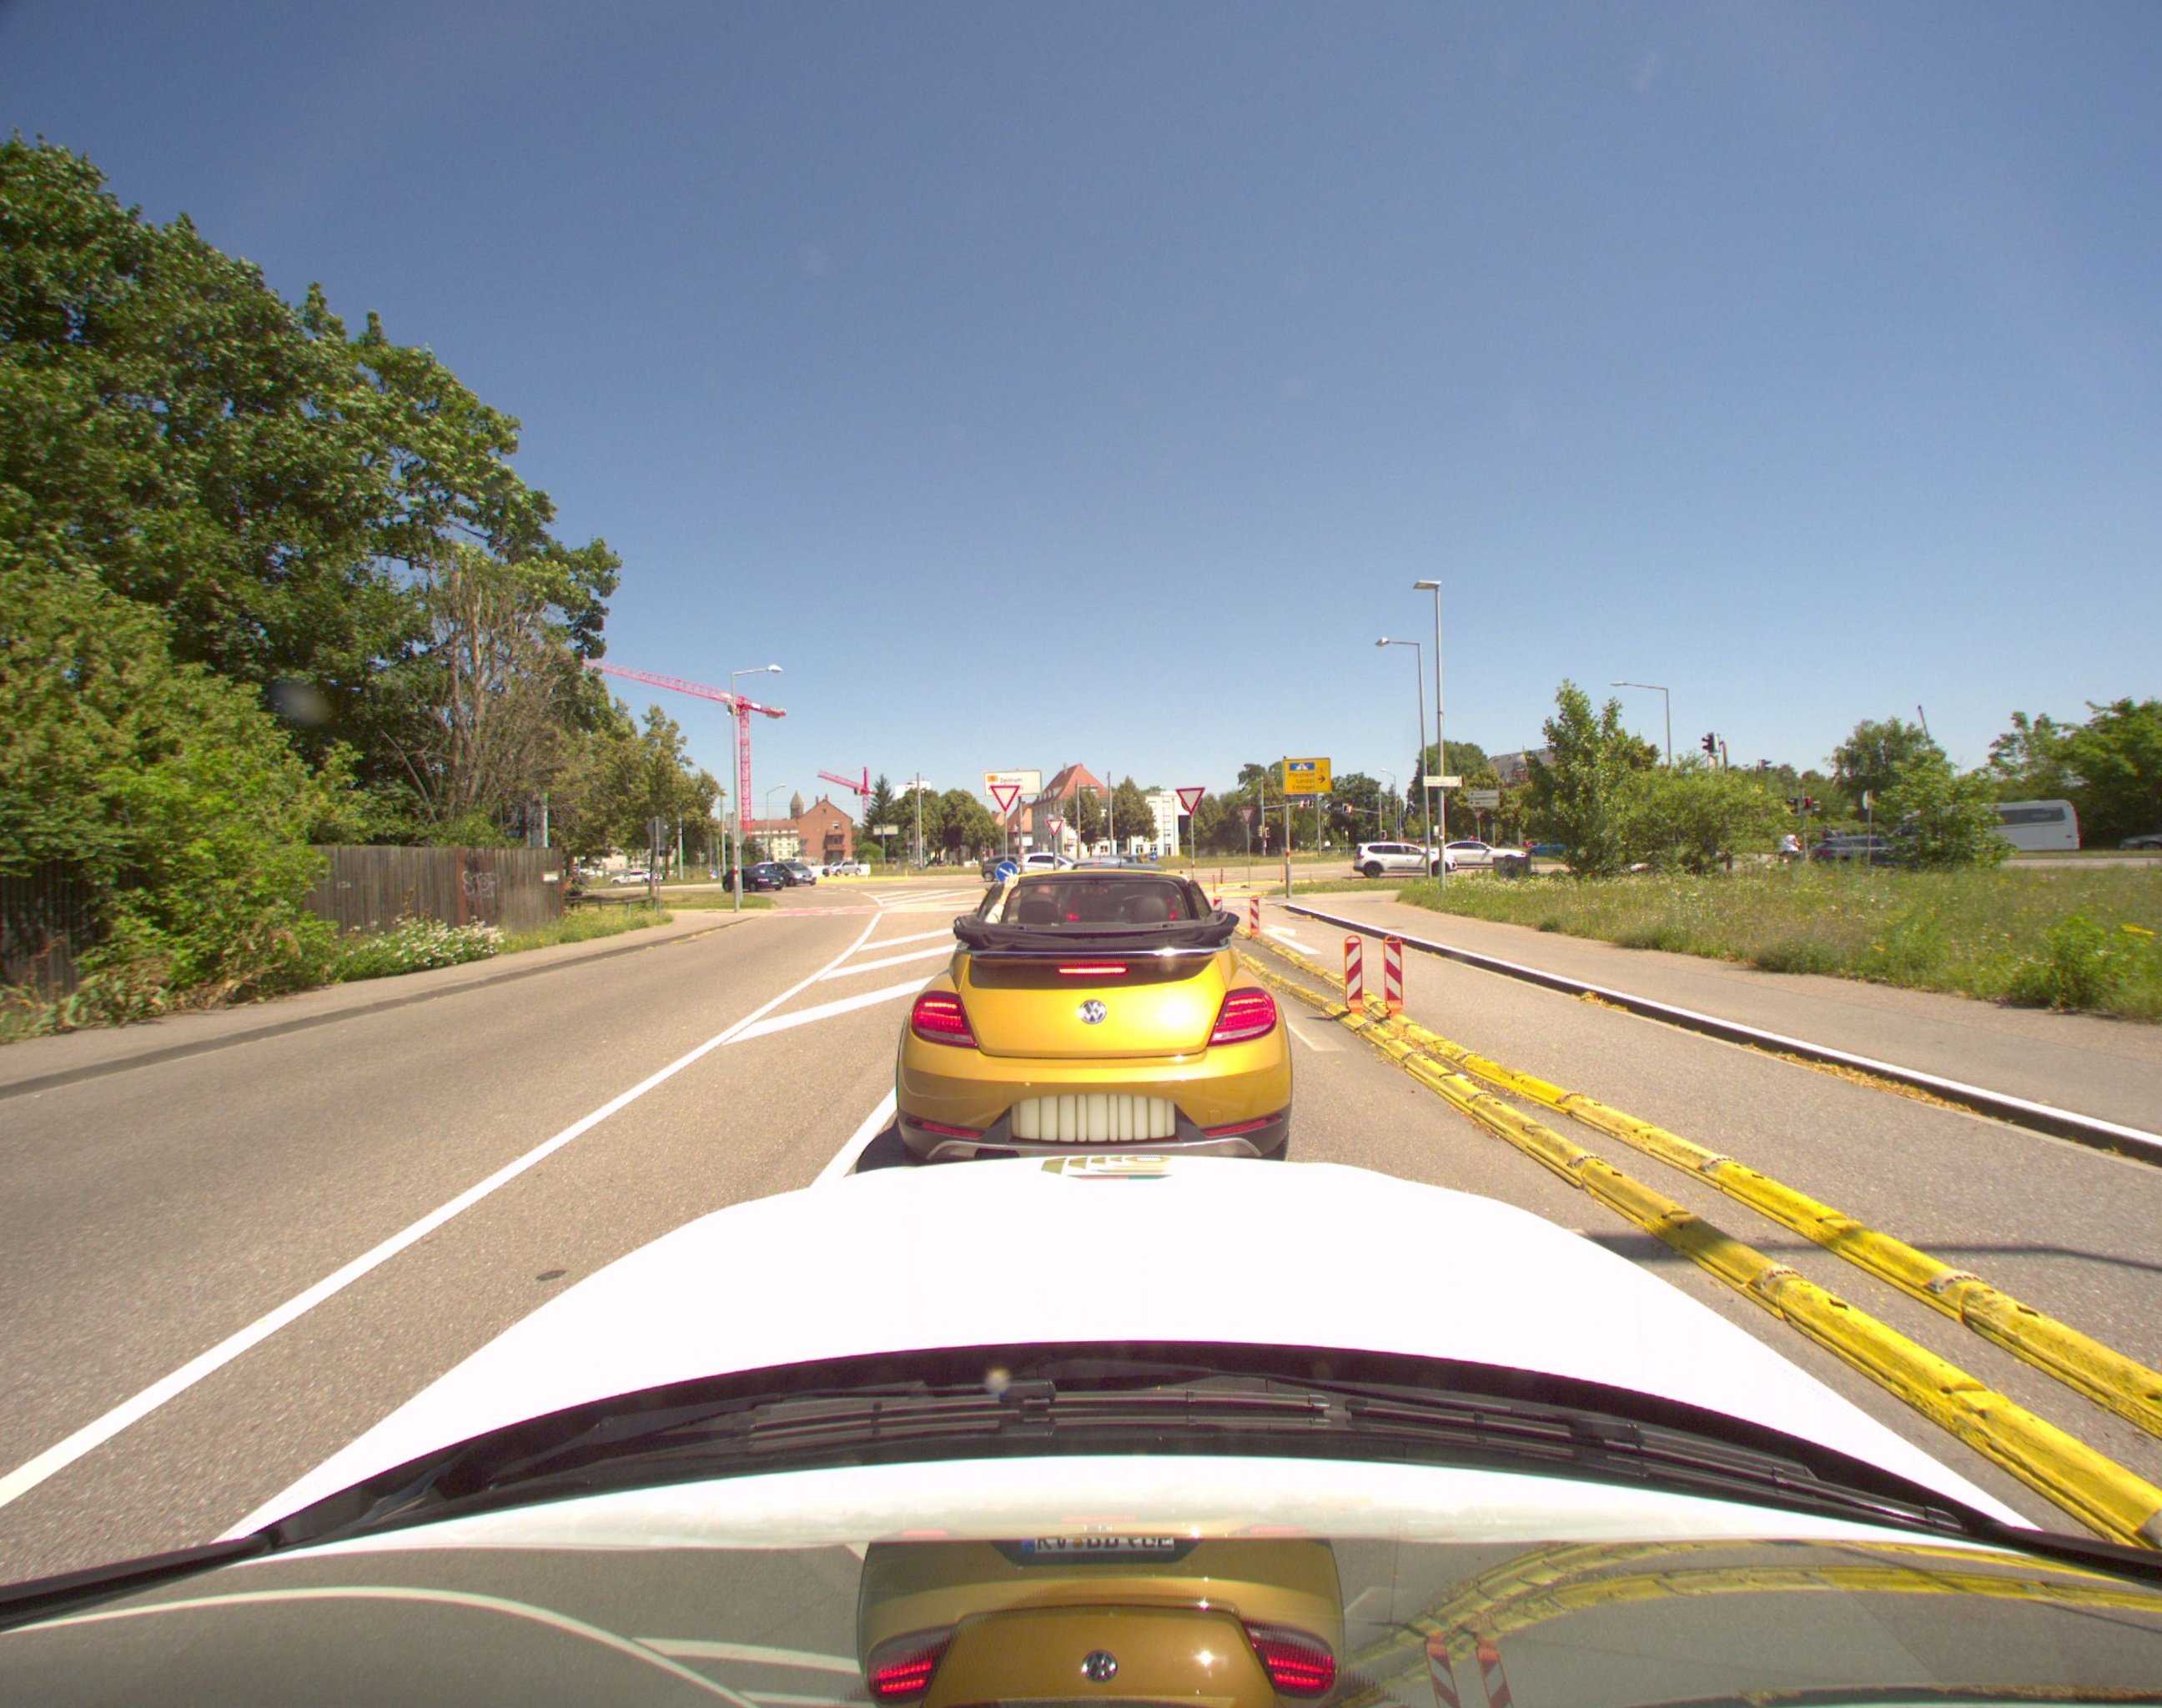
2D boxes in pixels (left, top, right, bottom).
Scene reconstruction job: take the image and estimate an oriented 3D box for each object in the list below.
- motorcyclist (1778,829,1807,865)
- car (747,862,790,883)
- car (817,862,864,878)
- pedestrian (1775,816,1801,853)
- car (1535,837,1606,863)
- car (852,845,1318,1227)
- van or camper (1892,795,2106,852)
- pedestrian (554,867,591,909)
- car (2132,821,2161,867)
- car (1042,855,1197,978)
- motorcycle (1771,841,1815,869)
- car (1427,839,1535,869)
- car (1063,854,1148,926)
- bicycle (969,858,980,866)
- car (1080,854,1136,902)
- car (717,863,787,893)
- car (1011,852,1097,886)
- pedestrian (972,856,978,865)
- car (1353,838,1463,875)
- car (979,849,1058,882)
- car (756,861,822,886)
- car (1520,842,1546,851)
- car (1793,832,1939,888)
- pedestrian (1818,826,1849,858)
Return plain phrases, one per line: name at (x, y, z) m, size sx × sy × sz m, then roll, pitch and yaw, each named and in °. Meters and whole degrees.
motorcyclist at (25.813, -0.255, 29.547) m, size 0.616 × 1.289 × 0.576 m, roll -1°, pitch -1°, yaw -27°
car at (-24.439, 1.409, 63.839) m, size 1.749 × 1.549 × 4.002 m, roll -1°, pitch 0°, yaw 2°
car at (-23.269, 1.547, 79.070) m, size 1.690 × 1.500 × 4.247 m, roll -1°, pitch 0°, yaw 34°
pedestrian at (36.697, -0.998, 42.282) m, size 0.647 × 1.870 × 0.737 m, roll -1°, pitch 0°, yaw 3°
car at (35.638, -0.283, 59.379) m, size 2.006 × 1.838 × 3.962 m, roll -1°, pitch 0°, yaw -30°
car at (0.066, 0.697, 4.978) m, size 1.746 × 1.422 × 3.779 m, roll -1°, pitch 0°, yaw 1°
van or camper at (48.826, -1.510, 43.679) m, size 2.527 × 2.693 × 7.420 m, roll -1°, pitch 0°, yaw -43°
pedestrian at (-19.518, 1.294, 31.259) m, size 0.866 × 1.563 × 0.815 m, roll -1°, pitch -1°, yaw 24°
car at (48.712, -0.456, 35.037) m, size 3.950 × 2.014 × 2.012 m, roll -1°, pitch 0°, yaw 44°
car at (0.528, 0.755, 11.784) m, size 1.841 × 1.442 × 4.002 m, roll -1°, pitch 0°, yaw 2°
motorcycle at (25.794, 0.033, 29.500) m, size 1.712 × 0.970 × 0.625 m, roll -1°, pitch 0°, yaw -28°
car at (21.485, 0.002, 43.924) m, size 4.953 × 1.509 × 2.009 m, roll -1°, pitch 0°, yaw 16°
car at (0.570, 0.746, 18.802) m, size 1.730 × 1.442 × 4.002 m, roll -1°, pitch 0°, yaw 2°
bicycle at (-14.986, 1.157, 114.361) m, size 1.473 × 1.071 × 0.494 m, roll -1°, pitch 0°, yaw -25°
car at (0.929, 0.754, 27.601) m, size 1.730 × 1.477 × 4.002 m, roll -1°, pitch 0°, yaw 2°
car at (-18.859, 1.357, 46.644) m, size 3.960 × 1.620 × 1.748 m, roll -1°, pitch 0°, yaw 33°
car at (-1.329, 0.739, 40.849) m, size 3.973 × 1.620 × 1.686 m, roll -1°, pitch 0°, yaw 11°
pedestrian at (-14.945, 0.868, 114.385) m, size 0.679 × 1.230 × 0.494 m, roll -1°, pitch -1°, yaw -25°
car at (14.961, 0.137, 37.516) m, size 4.540 × 1.566 × 2.008 m, roll -1°, pitch 0°, yaw 16°
car at (-3.472, 0.617, 45.486) m, size 3.957 × 1.496 × 1.654 m, roll -5°, pitch -1°, yaw 15°
car at (-18.624, 1.260, 51.883) m, size 3.949 × 1.496 × 1.812 m, roll -1°, pitch 0°, yaw 30°
car at (84.802, -1.438, 152.841) m, size 3.996 × 1.714 × 1.989 m, roll -1°, pitch 0°, yaw -17°
car at (30.384, 0.244, 31.716) m, size 3.949 × 2.014 × 2.012 m, roll -1°, pitch 0°, yaw 41°
pedestrian at (37.746, -0.609, 40.872) m, size 0.789 × 1.563 × 0.823 m, roll -1°, pitch 0°, yaw 3°
